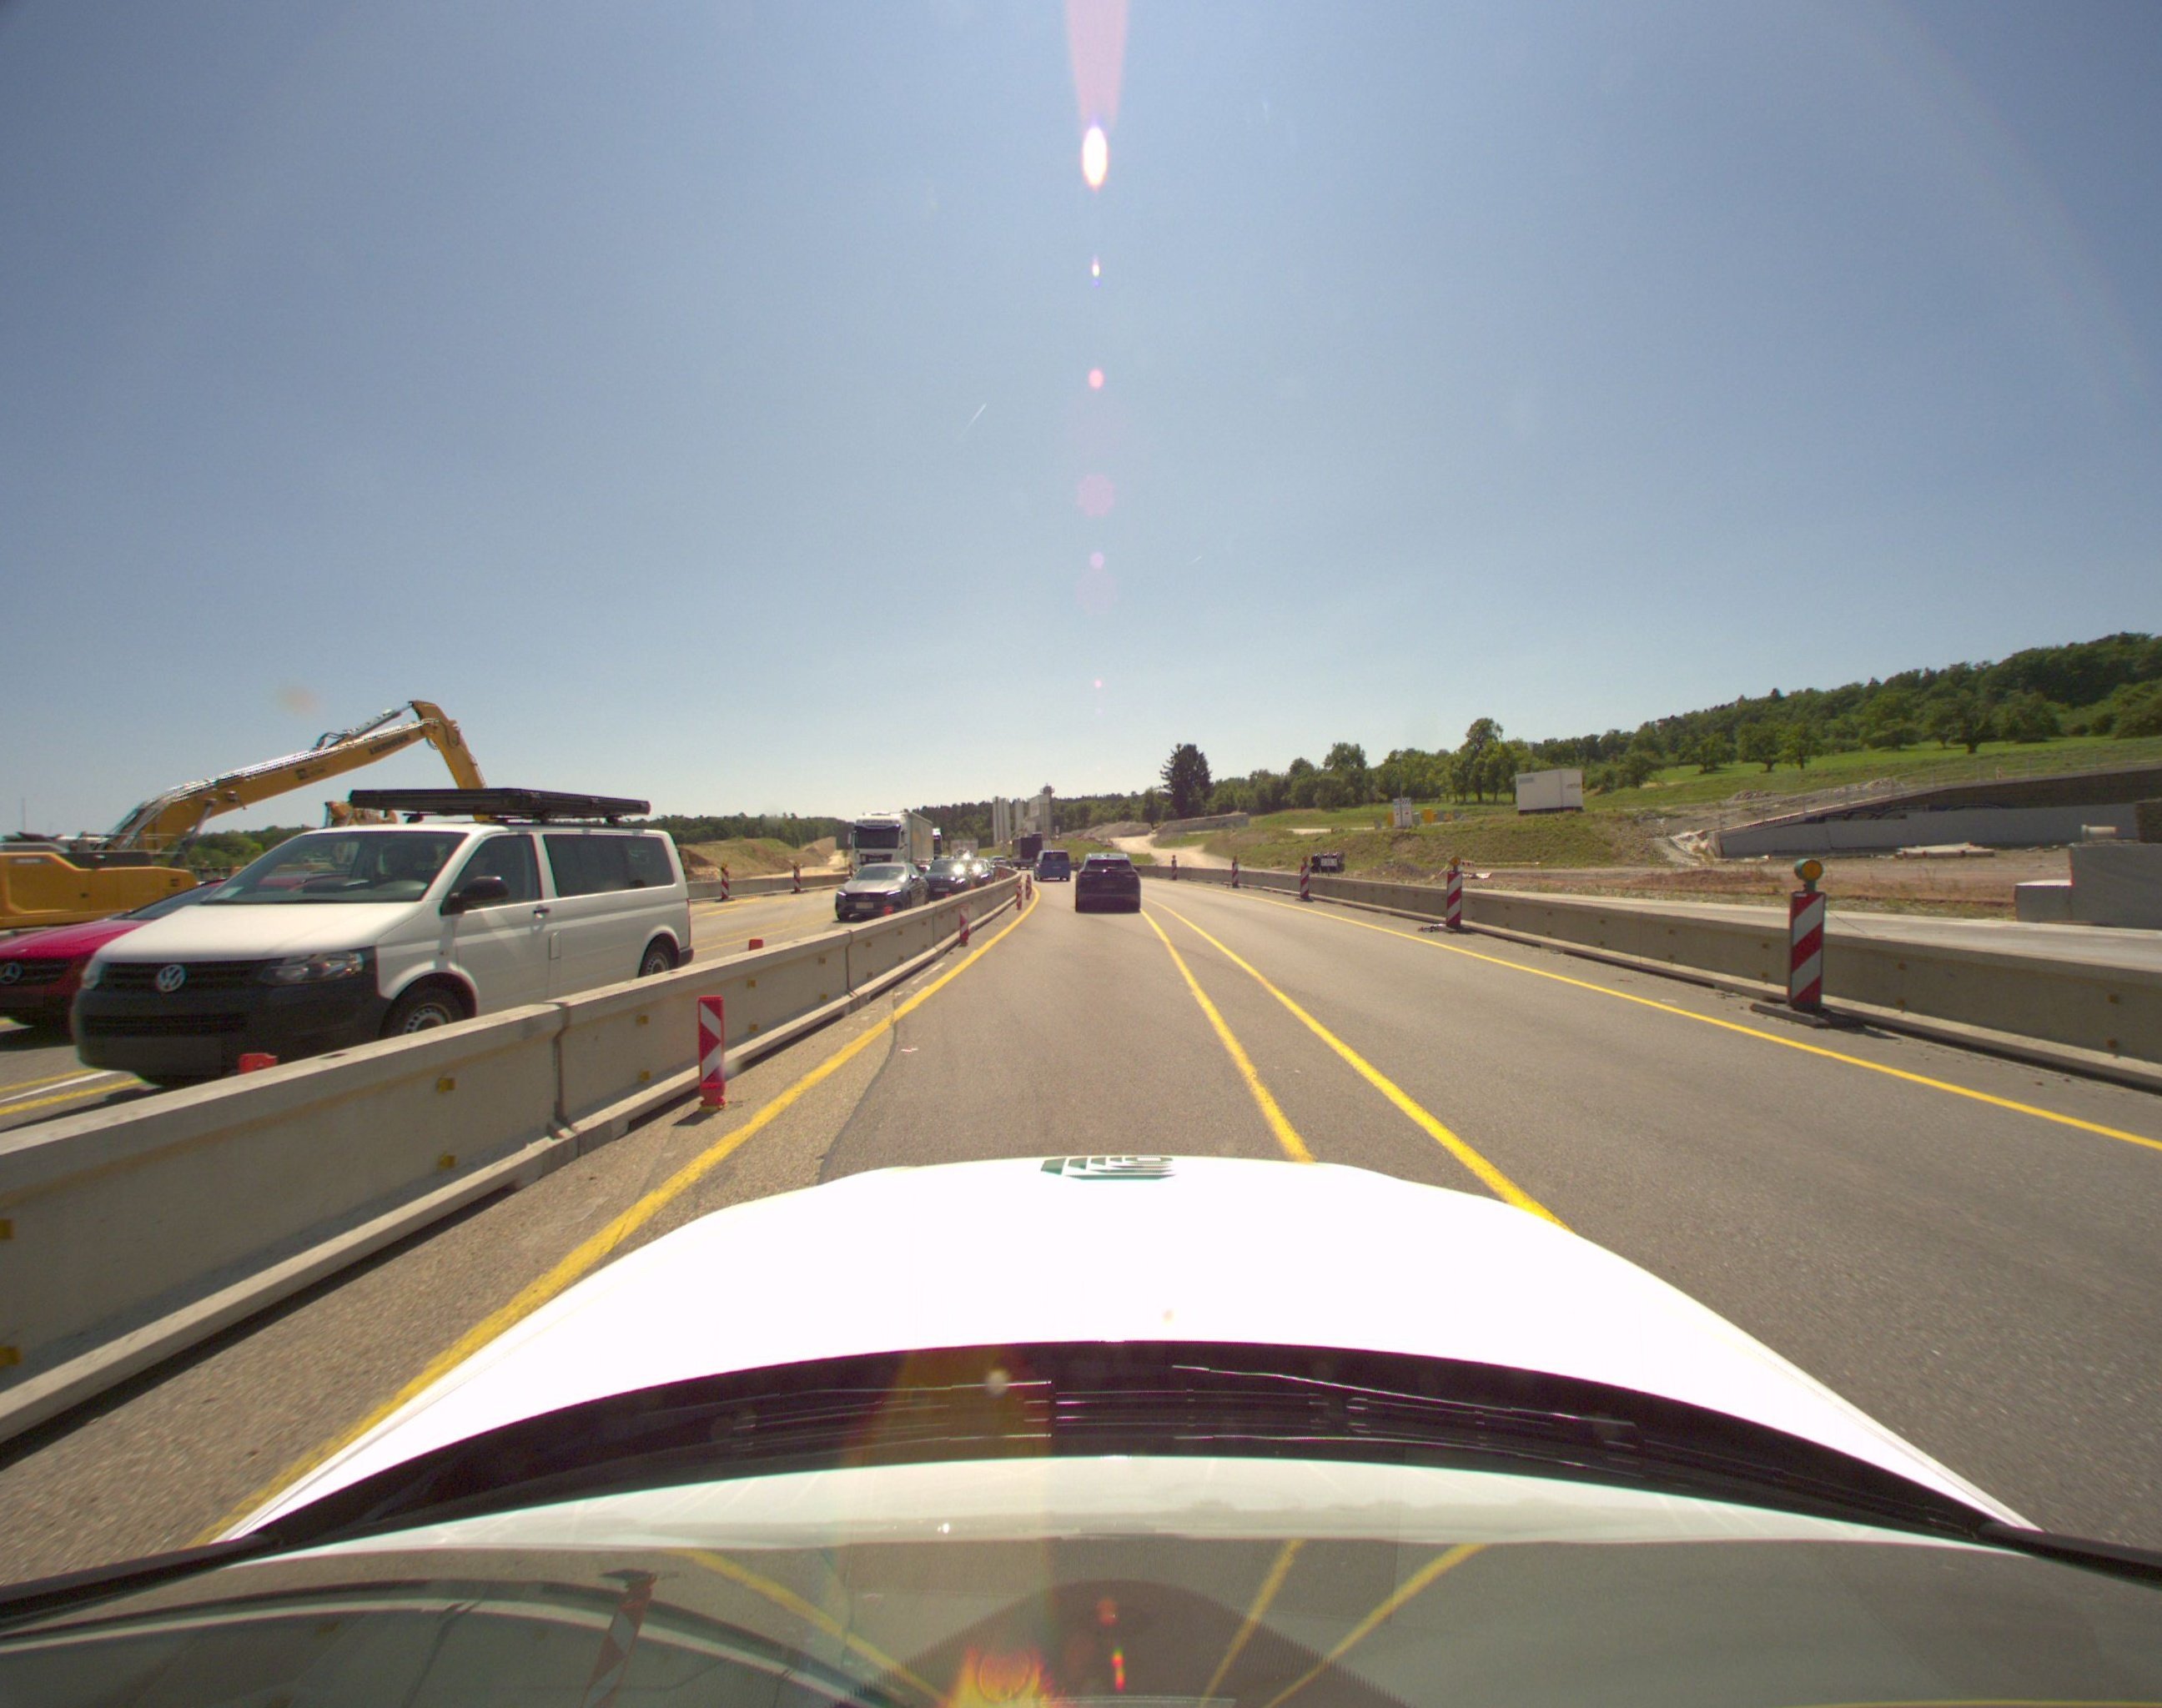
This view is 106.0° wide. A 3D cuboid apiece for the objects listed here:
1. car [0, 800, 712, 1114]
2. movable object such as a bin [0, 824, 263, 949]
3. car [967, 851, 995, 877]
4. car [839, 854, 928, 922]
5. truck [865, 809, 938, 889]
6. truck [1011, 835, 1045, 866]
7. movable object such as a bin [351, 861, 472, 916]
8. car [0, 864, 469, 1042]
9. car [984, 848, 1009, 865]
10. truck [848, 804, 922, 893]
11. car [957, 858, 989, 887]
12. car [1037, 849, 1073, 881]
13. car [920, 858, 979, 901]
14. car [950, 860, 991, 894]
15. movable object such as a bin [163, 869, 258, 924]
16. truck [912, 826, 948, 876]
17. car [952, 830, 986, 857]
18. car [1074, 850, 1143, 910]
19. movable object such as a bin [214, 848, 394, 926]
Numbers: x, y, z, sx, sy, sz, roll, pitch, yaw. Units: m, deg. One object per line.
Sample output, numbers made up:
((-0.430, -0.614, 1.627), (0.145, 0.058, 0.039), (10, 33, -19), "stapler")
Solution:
((-5.491, 0.594, 7.400), (1.866, 1.872, 5.060), (0, 1, 1), "car")
((-22.731, 0.621, 18.180), (3.278, 2.440, 5.444), (0, 0, 3), "movable object such as a bin")
((-6.388, 0.592, 51.710), (1.677, 1.544, 4.106), (0, 1, -8), "car")
((-5.119, 0.822, 21.571), (1.505, 1.604, 3.950), (0, 0, -2), "car")
((-10.807, -0.337, 50.205), (2.769, 4.277, 11.758), (-2, 1, -5), "truck")
((-5.524, -0.321, 84.286), (2.675, 2.945, 5.598), (-3, 0, -11), "truck")
((-45.072, 2.235, 55.153), (3.848, 3.049, 5.988), (-4, 2, -13), "movable object such as a bin")
((-9.957, 0.937, 9.724), (1.990, 1.501, 4.647), (-1, 1, -4), "car")
((-8.623, 0.232, 82.603), (2.046, 1.526, 5.047), (-3, 1, -11), "car")
((-10.188, -0.304, 42.956), (2.766, 4.259, 6.188), (-2, 0, -5), "truck")
((-6.065, 0.992, 45.528), (1.677, 1.444, 4.540), (-1, 0, -8), "car")
((-1.662, 0.624, 50.524), (1.990, 1.844, 3.993), (-2, 1, -5), "car")
((-4.862, 0.896, 30.559), (1.722, 1.408, 4.125), (-1, 0, -3), "car")
((-5.156, 1.036, 38.396), (1.653, 1.453, 4.241), (-1, 0, -5), "car")
((-55.437, 2.633, 52.010), (2.435, 3.126, 5.432), (1, 0, -28), "movable object such as a bin")
((-12.969, -0.261, 69.636), (2.702, 3.969, 6.173), (-2, 0, -12), "truck")
((-17.791, -1.630, 128.692), (3.447, 4.101, 9.138), (1, 0, -19), "car")
((0.777, 0.690, 23.821), (1.836, 1.582, 4.001), (0, 0, 1), "car")
((-35.886, 1.419, 37.959), (3.664, 3.025, 4.977), (-3, 2, -9), "movable object such as a bin")
